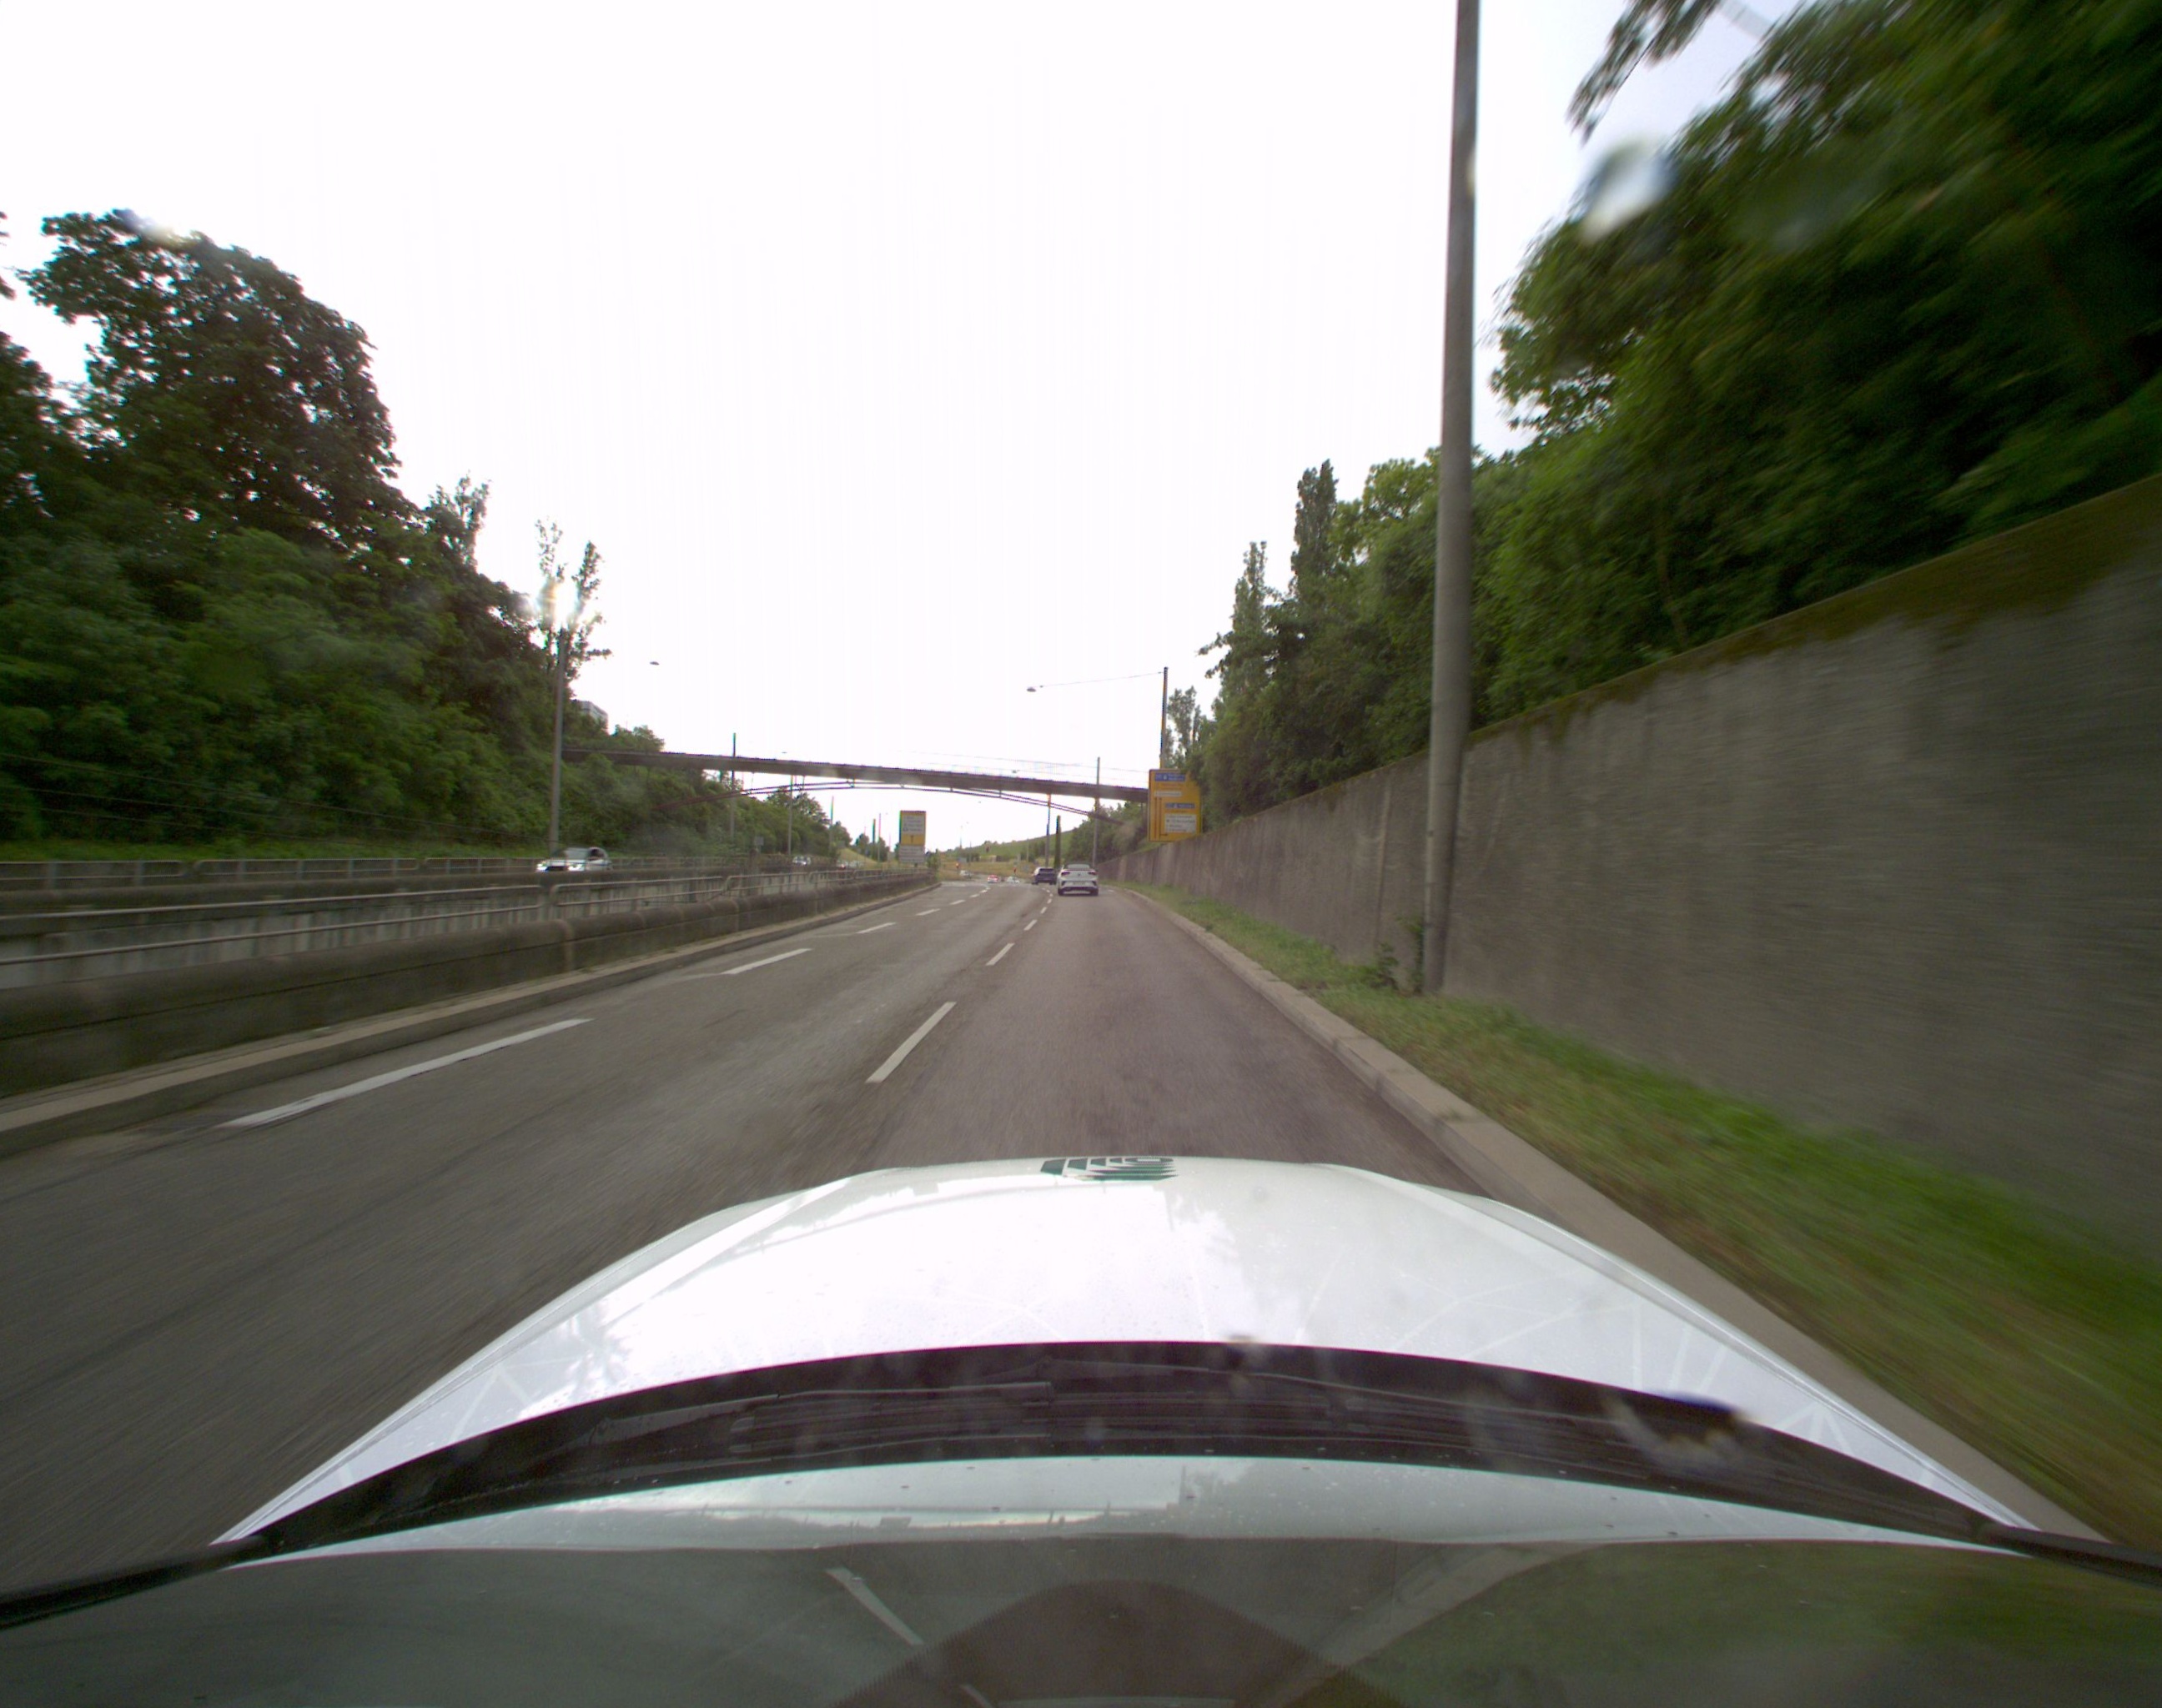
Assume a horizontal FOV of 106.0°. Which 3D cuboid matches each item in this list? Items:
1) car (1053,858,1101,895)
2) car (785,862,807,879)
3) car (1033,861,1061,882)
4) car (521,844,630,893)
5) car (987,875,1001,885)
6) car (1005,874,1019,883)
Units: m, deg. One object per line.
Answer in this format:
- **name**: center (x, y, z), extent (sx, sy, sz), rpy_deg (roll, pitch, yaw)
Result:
- **car**: center (-0.226, 0.976, 37.561), extent (1.991, 1.578, 4.120), rpy_deg (-1, 0, -3)
- **car**: center (-32.483, 1.877, 92.965), extent (1.671, 1.916, 4.542), rpy_deg (0, -1, -10)
- **car**: center (-2.864, 1.411, 67.293), extent (1.925, 1.599, 4.050), rpy_deg (-1, 0, -8)
- **car**: center (-19.440, 0.562, 31.569), extent (1.959, 1.750, 4.132), rpy_deg (-1, -1, -6)
- **car**: center (-15.155, 4.580, 141.723), extent (1.767, 1.519, 3.727), rpy_deg (4, -3, 3)
- **car**: center (-13.284, 4.747, 156.599), extent (1.765, 1.519, 3.732), rpy_deg (4, -3, 8)
